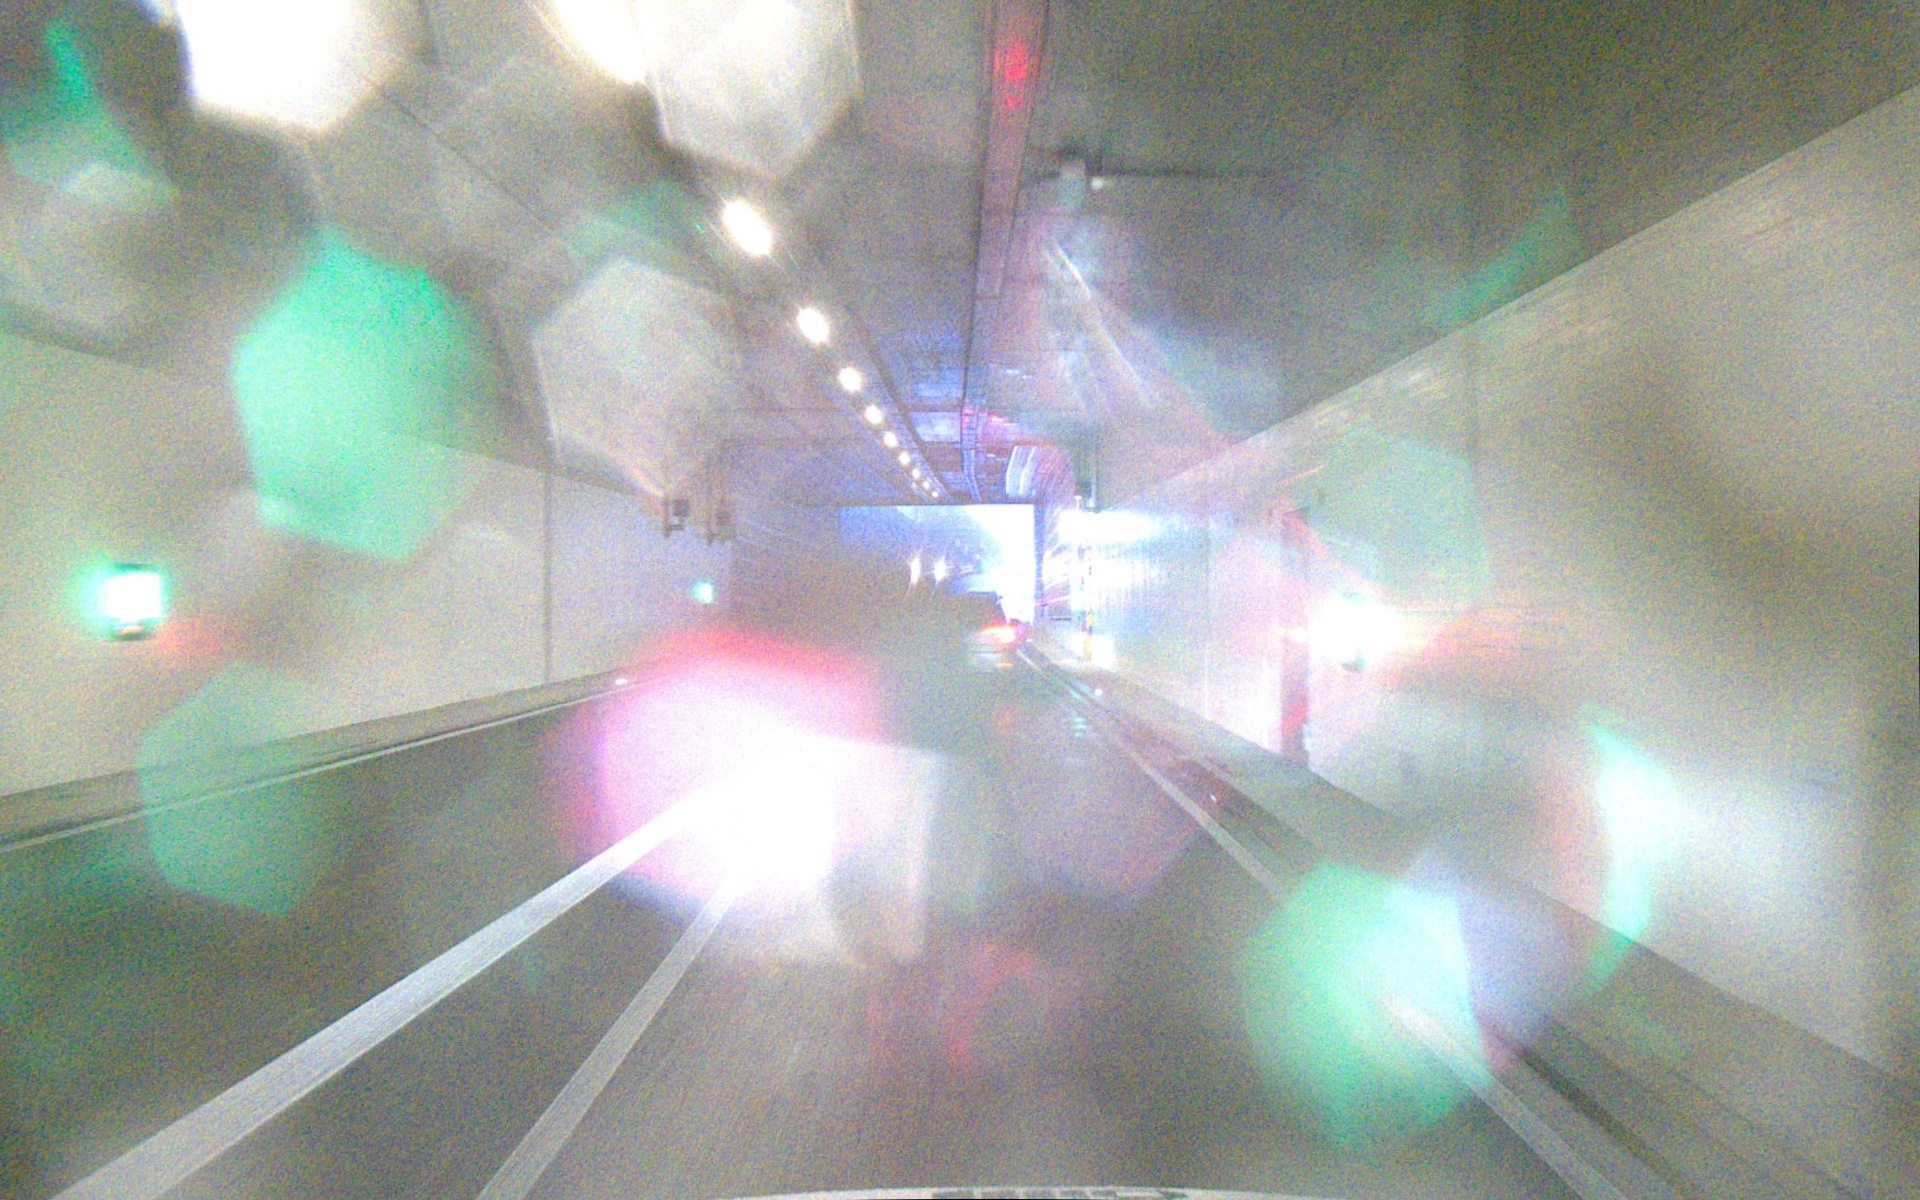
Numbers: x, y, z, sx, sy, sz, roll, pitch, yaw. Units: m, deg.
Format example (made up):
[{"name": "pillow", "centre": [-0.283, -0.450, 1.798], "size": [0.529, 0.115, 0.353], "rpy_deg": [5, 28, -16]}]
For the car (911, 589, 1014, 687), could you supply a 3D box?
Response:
[{"name": "car", "centre": [0.025, 0.552, 25.922], "size": [1.500, 1.422, 3.433], "rpy_deg": [0, 0, 0]}]

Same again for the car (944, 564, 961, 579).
[{"name": "car", "centre": [-0.887, -3.396, 197.840], "size": [1.841, 1.649, 4.001], "rpy_deg": [1, -1, 3]}]

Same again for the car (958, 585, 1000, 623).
[{"name": "car", "centre": [0.848, 0.194, 74.774], "size": [1.842, 1.649, 4.000], "rpy_deg": [1, -1, 0]}]
